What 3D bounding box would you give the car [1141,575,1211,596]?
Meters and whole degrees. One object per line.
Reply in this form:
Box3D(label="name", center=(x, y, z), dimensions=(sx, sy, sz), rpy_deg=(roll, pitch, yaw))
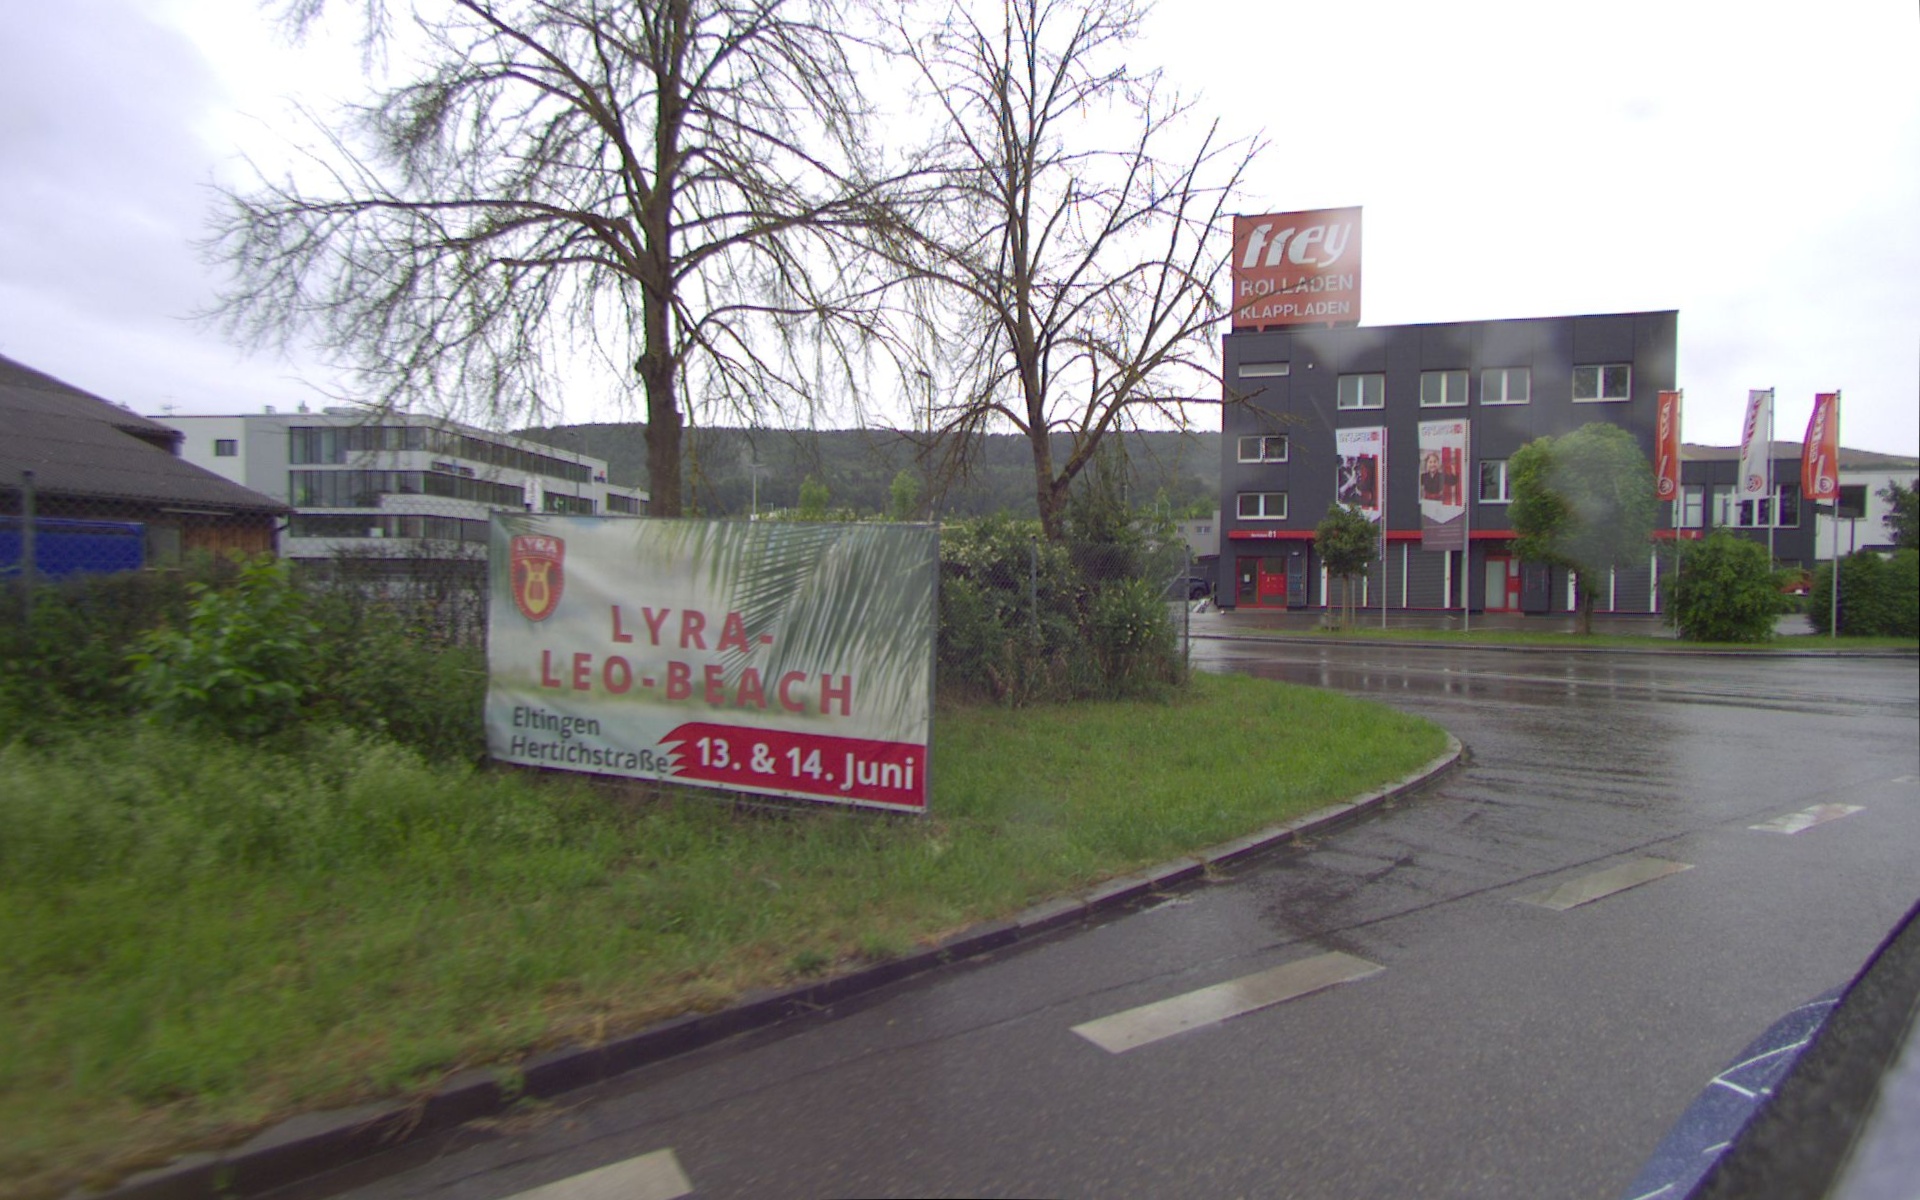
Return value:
Box3D(label="car", center=(14.326, -0.965, 67.207), dimensions=(4.112, 1.404, 2.002), rpy_deg=(0, 1, -5))
